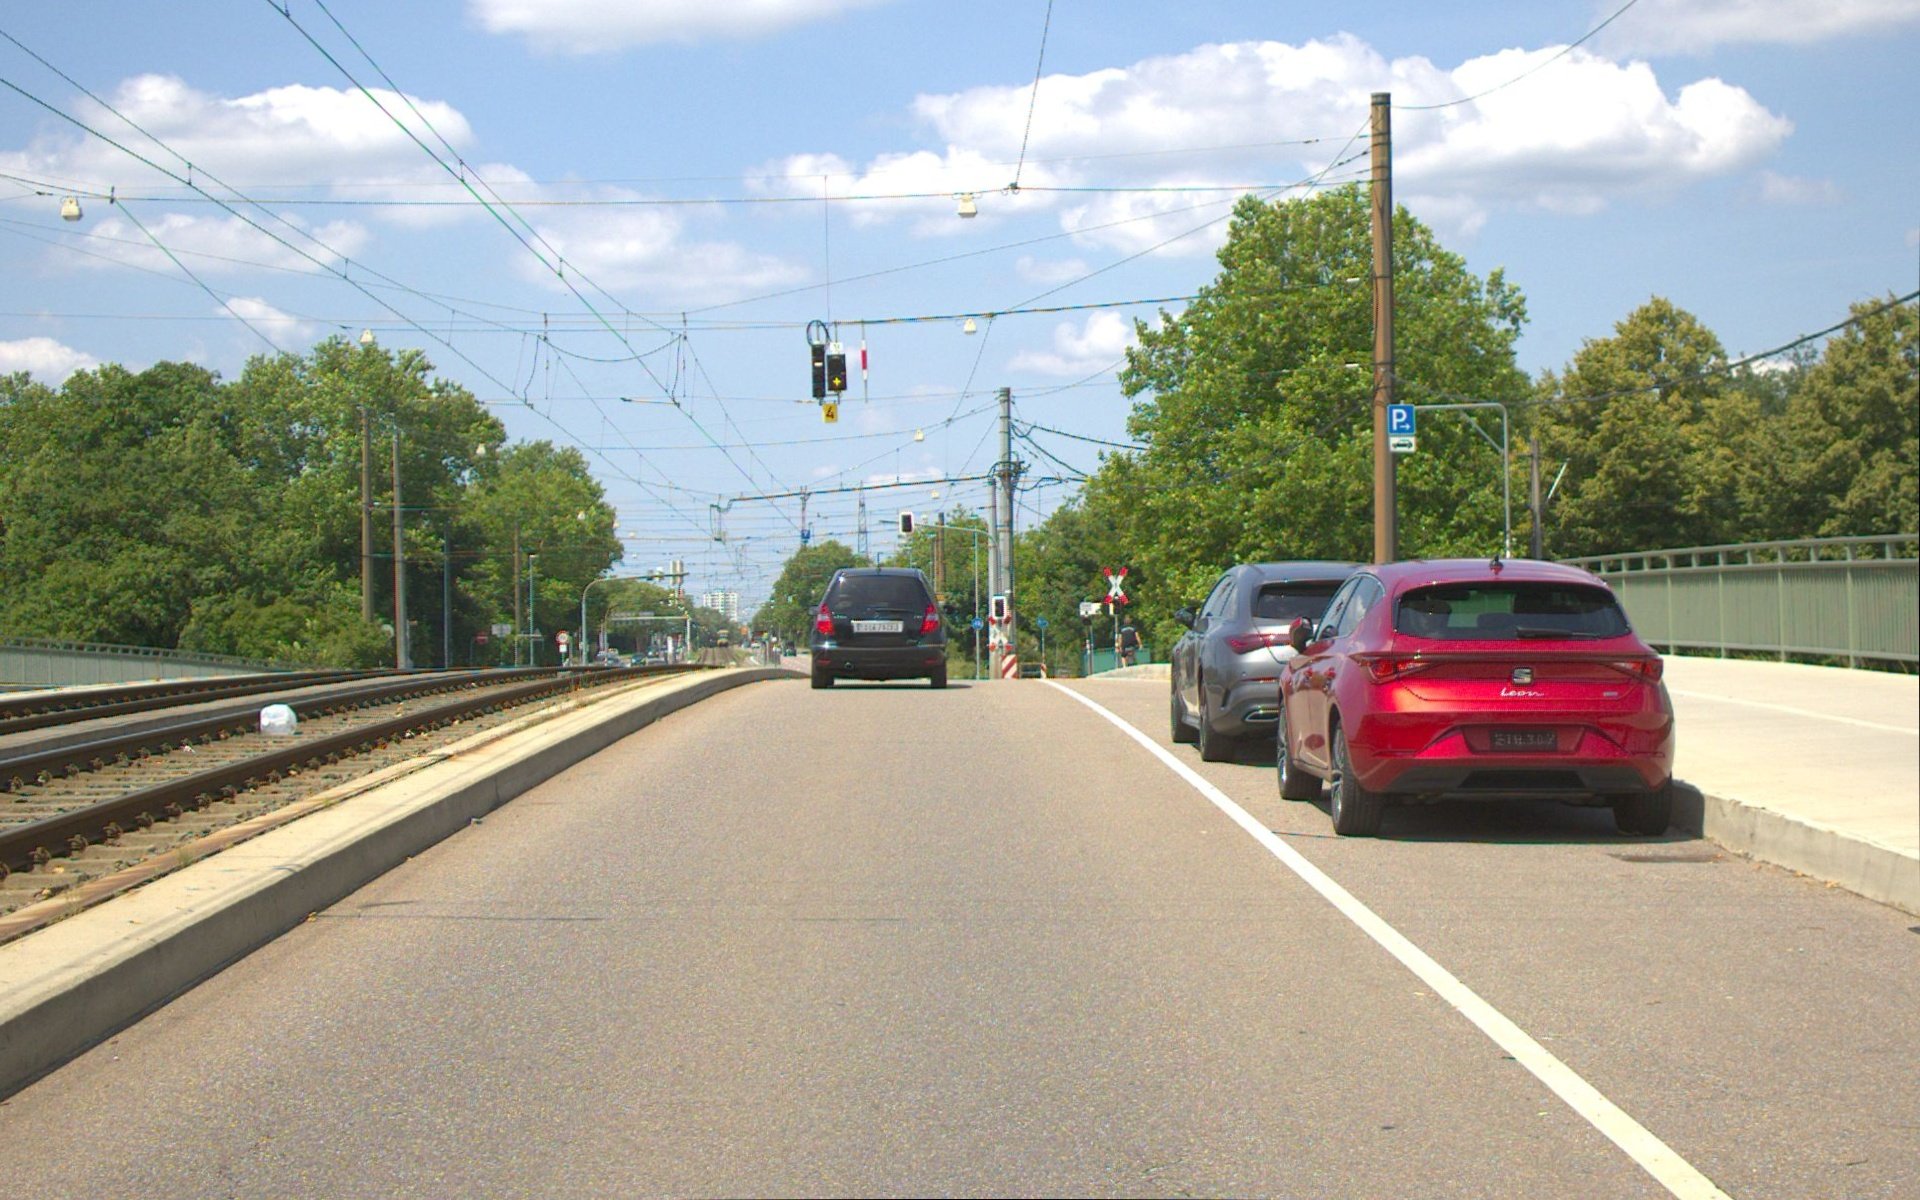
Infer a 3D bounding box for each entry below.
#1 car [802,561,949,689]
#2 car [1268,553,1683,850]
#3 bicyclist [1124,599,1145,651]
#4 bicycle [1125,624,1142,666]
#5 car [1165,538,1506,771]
[{"bbox_3d":[-1.099,0.293,45.712,1.853,1.565,4.388,0,1,-1],"label":"car"},{"bbox_3d":[2.787,0.484,19.449,1.647,1.455,4.286,0,1,-1],"label":"car"},{"bbox_3d":[5.042,0.735,99.514,0.585,1.490,0.558,0,0,1],"label":"bicyclist"},{"bbox_3d":[5.016,1.297,99.526,0.432,1.148,1.855,0,1,1],"label":"bicycle"},{"bbox_3d":[2.691,0.326,25.724,1.993,1.546,4.722,0,1,0],"label":"car"}]
